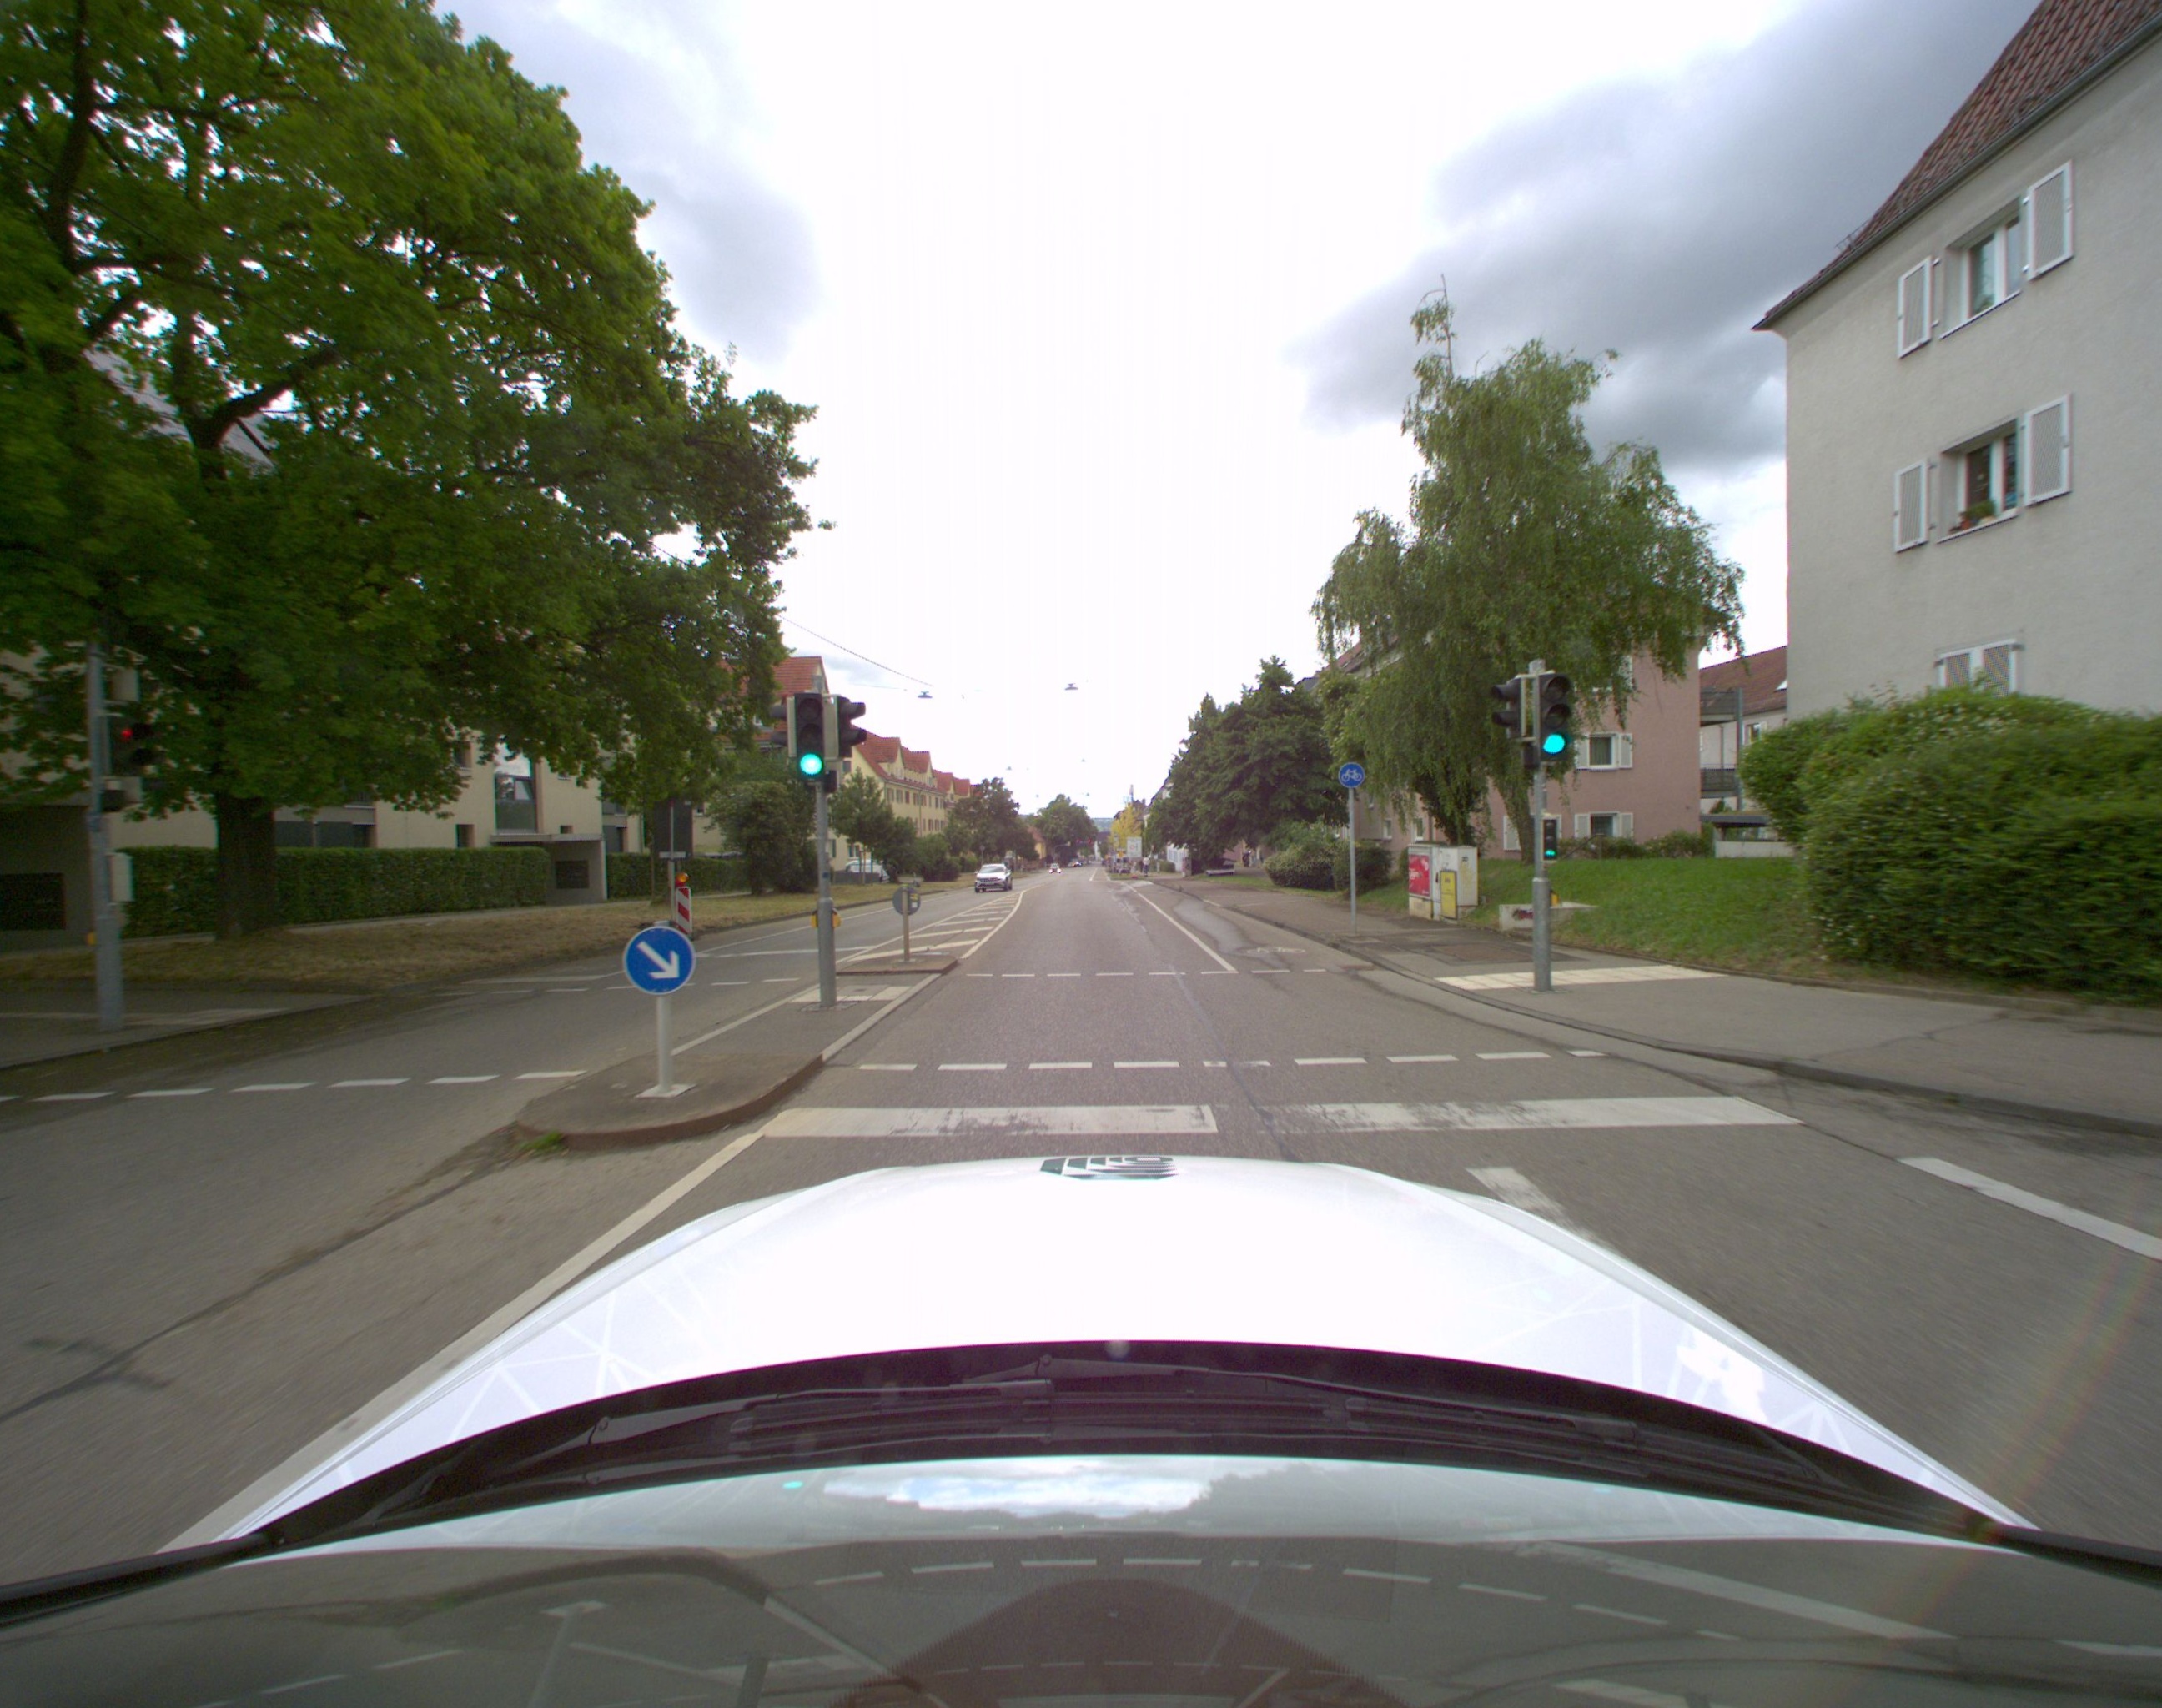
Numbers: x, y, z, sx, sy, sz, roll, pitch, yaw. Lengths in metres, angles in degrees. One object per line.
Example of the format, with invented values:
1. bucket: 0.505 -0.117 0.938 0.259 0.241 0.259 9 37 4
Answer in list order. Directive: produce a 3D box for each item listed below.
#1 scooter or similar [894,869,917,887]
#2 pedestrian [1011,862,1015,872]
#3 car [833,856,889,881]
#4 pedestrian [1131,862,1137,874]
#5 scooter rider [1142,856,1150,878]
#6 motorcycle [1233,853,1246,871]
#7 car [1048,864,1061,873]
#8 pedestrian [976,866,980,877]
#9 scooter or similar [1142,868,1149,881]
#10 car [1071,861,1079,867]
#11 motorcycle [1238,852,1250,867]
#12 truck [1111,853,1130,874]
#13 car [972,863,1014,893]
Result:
1. scooter or similar: -11.329 1.565 52.634 1.367 1.086 0.466 -2 -1 -4
2. pedestrian: -11.100 2.117 132.459 0.594 1.727 0.862 0 -1 4
3. car: -20.999 1.423 77.931 4.701 2.253 1.995 -1 -1 1
4. pedestrian: 7.033 1.849 107.623 0.577 1.644 0.559 -1 -2 -13
5. scooter rider: 5.903 1.195 73.835 0.623 2.014 0.757 -1 -1 0
6. motorcycle: 14.087 0.742 72.368 0.728 1.569 2.551 -1 -1 2
7. car: -4.612 2.550 143.109 1.892 1.620 4.363 -1 0 2
8. pedestrian: -15.644 2.650 123.221 0.512 1.780 0.753 -1 -1 1
9. scooter or similar: 5.858 1.825 73.779 0.489 1.163 2.074 -1 -1 1
10. car: -1.545 2.538 210.206 1.748 1.472 4.311 -2 0 4
11. motorcycle: 13.154 0.464 65.811 0.588 1.227 1.967 -1 -1 1
12. truck: 4.869 1.177 101.424 2.046 2.565 5.689 -1 0 0
13. car: -4.823 1.289 44.933 1.796 1.464 4.029 -3 0 0
